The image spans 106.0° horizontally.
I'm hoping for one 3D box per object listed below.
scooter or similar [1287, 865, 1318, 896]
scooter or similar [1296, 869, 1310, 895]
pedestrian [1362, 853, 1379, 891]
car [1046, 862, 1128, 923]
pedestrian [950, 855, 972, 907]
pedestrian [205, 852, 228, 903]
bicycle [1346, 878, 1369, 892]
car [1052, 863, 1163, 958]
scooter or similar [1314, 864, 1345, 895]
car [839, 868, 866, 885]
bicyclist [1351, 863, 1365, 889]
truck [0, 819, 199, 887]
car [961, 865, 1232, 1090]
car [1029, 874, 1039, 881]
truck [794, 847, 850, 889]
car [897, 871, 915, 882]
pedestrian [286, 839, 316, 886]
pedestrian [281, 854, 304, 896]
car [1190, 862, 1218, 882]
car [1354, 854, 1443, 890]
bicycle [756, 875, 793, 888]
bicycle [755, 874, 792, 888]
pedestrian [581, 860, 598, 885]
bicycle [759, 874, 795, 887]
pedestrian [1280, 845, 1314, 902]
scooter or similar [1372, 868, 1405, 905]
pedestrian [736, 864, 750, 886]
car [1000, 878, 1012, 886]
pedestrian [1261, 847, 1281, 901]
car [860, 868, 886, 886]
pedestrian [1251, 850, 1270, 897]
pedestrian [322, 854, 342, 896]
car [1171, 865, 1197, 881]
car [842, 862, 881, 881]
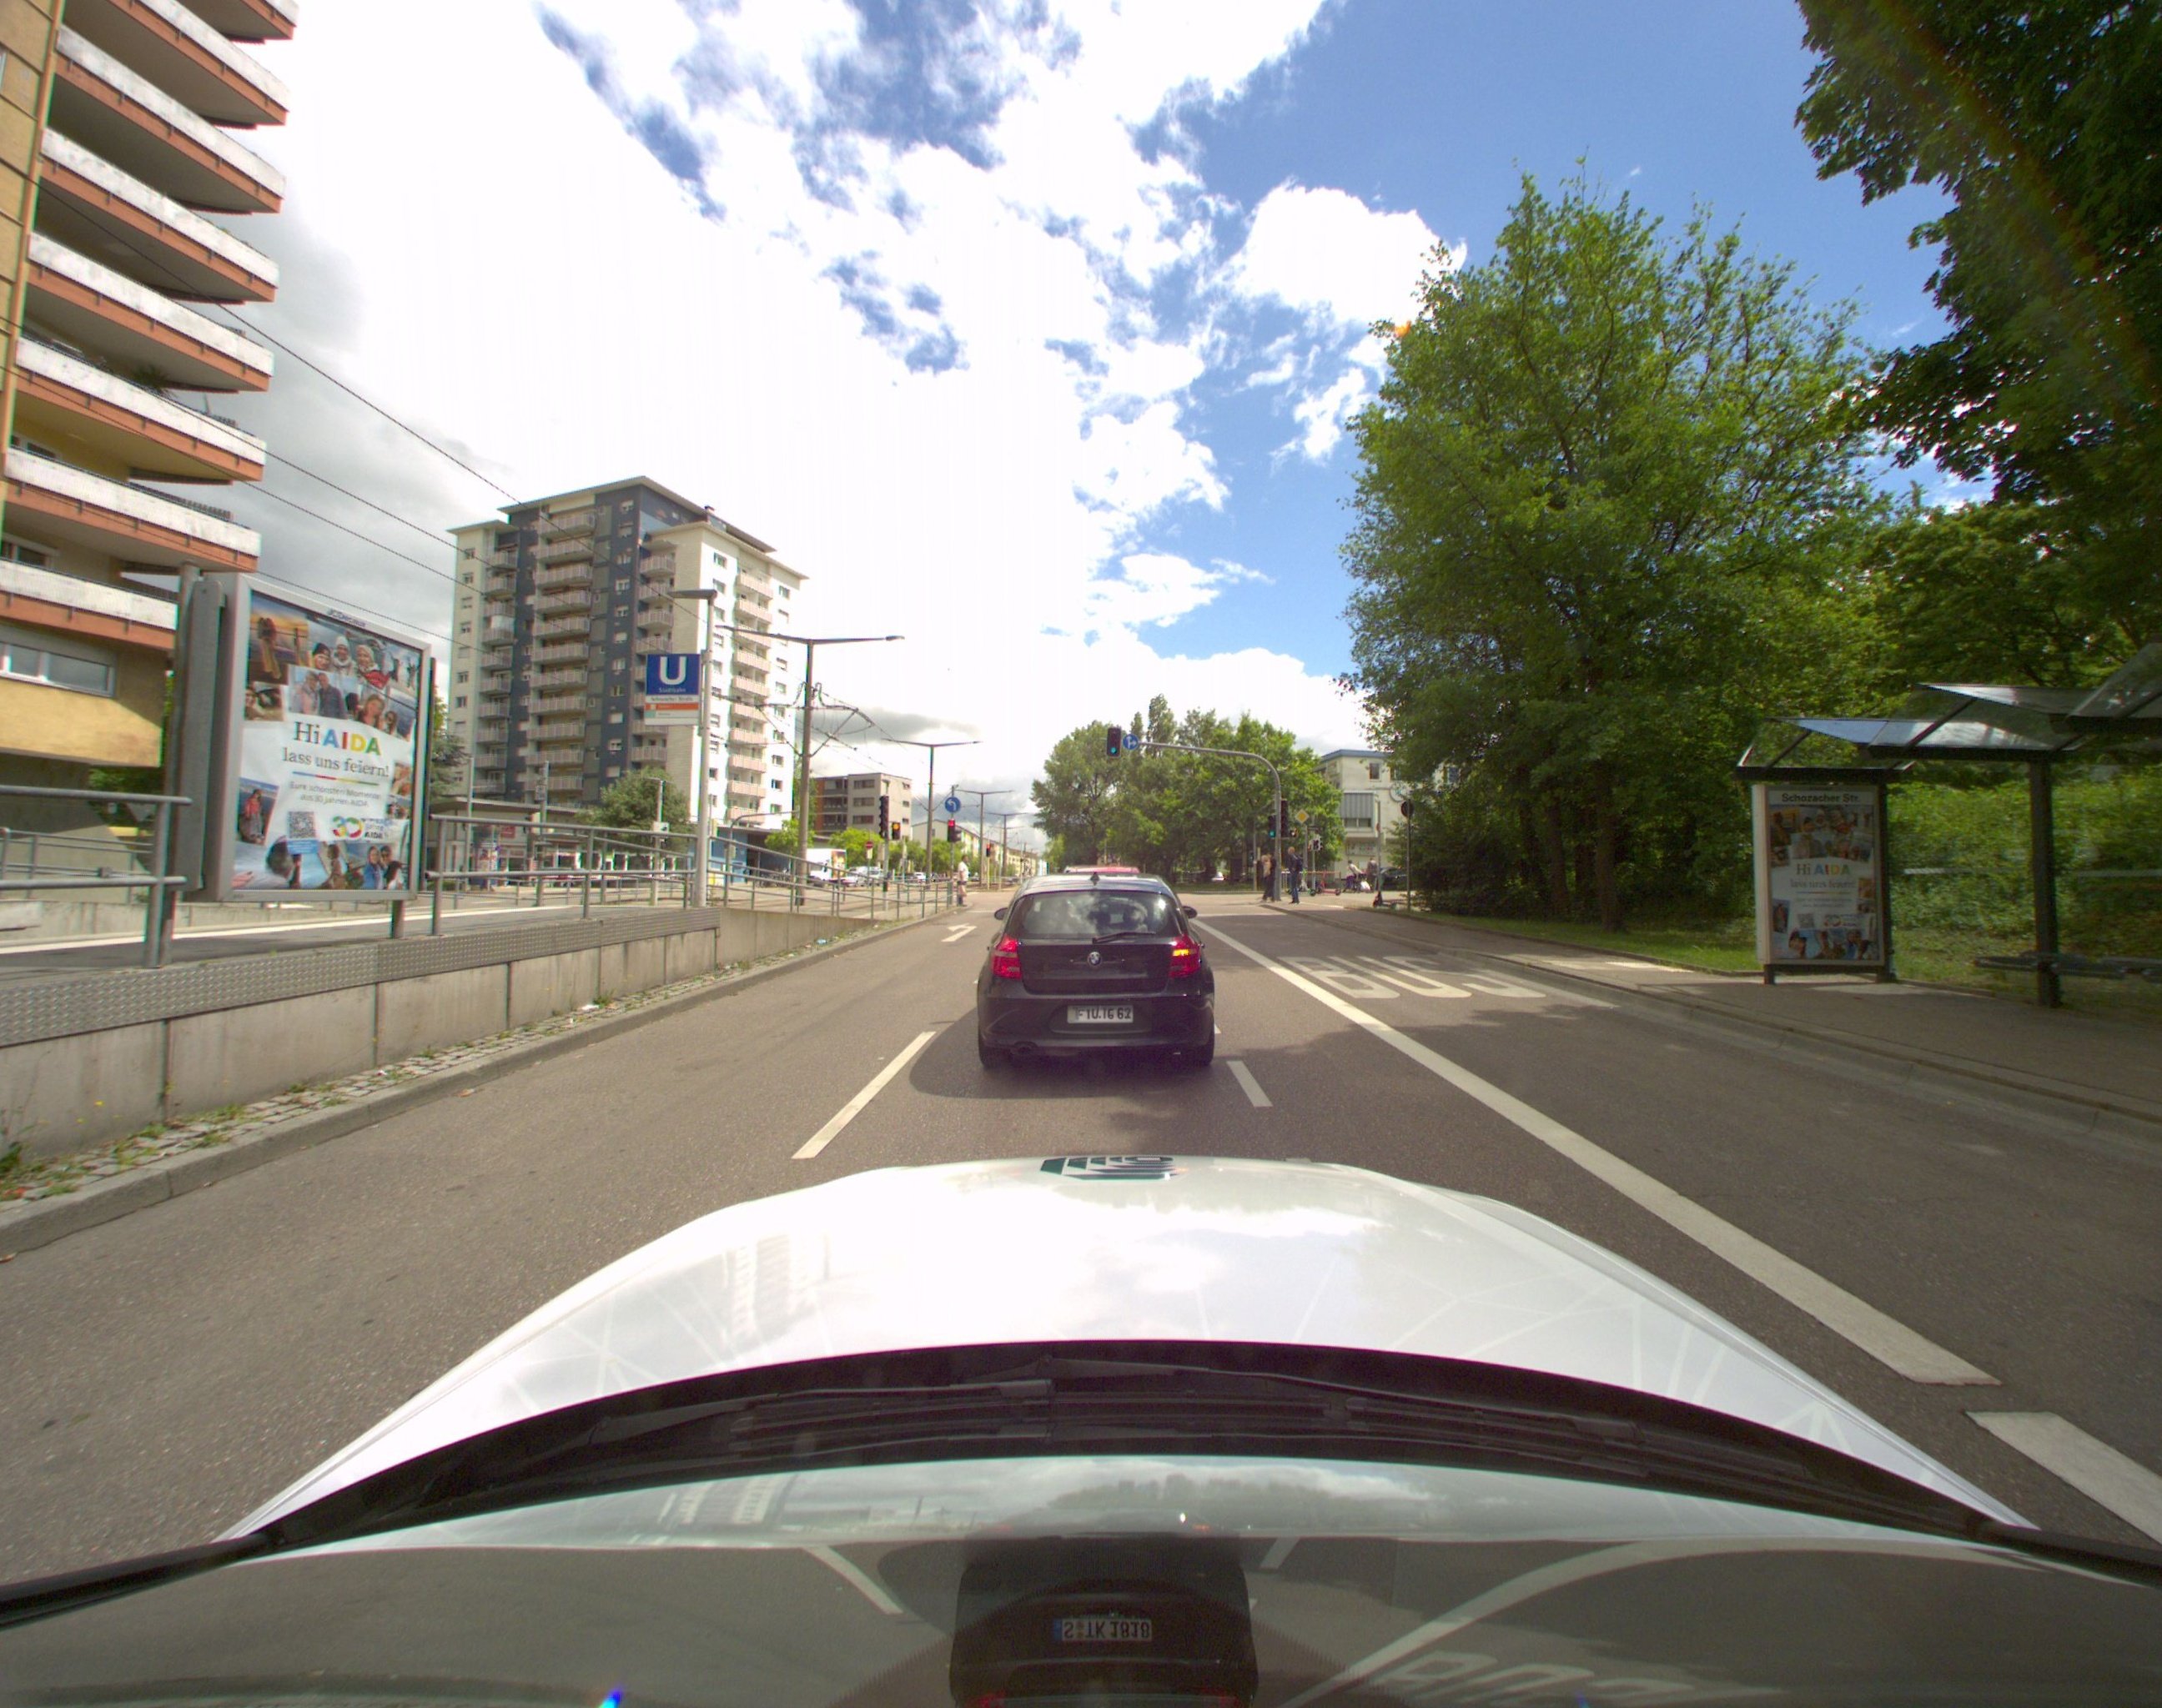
[{"bbox_3d":[8.954,1.064,32.951,1.105,1.235,0.540,0,-1,4],"label":"scooter or similar"},{"bbox_3d":[9.481,1.179,34.793,0.543,1.064,1.267,0,-1,16],"label":"scooter or similar"},{"bbox_3d":[13.349,0.836,37.497,0.651,1.713,0.464,-1,-1,28],"label":"pedestrian"},{"bbox_3d":[0.215,0.920,21.215,1.893,1.422,4.540,0,-1,2],"label":"car"},{"bbox_3d":[-4.101,0.907,27.873,0.687,1.734,0.686,-1,-1,-8],"label":"pedestrian"},{"bbox_3d":[-34.552,0.939,32.558,0.543,2.014,0.555,0,-1,-39],"label":"pedestrian"},{"bbox_3d":[12.558,1.410,36.980,0.531,0.610,1.590,1,-1,0],"label":"bicycle"},{"bbox_3d":[0.442,0.856,13.735,1.632,1.400,3.421,0,-1,2],"label":"car"},{"bbox_3d":[10.300,1.059,33.778,1.145,1.272,0.556,1,-1,4],"label":"scooter or similar"},{"bbox_3d":[-20.569,1.978,73.348,1.402,1.461,3.773,0,-1,0],"label":"car"},{"bbox_3d":[12.548,1.004,36.888,0.499,1.157,0.400,0,-1,2],"label":"bicyclist"},{"bbox_3d":[-34.575,-0.020,28.755,4.262,2.290,2.352,0,-1,2],"label":"truck"},{"bbox_3d":[0.150,0.799,6.834,1.694,1.400,3.421,0,-1,2],"label":"car"},{"bbox_3d":[-10.807,5.477,187.485,1.642,1.534,3.879,0,-1,7],"label":"car"},{"bbox_3d":[-20.470,1.109,64.715,2.275,3.118,7.312,0,-1,-2],"label":"truck"},{"bbox_3d":[-24.135,3.054,112.660,1.586,1.474,3.775,0,-1,1],"label":"car"},{"bbox_3d":[-29.927,0.321,31.246,0.650,1.776,0.667,-1,-1,30],"label":"pedestrian"},{"bbox_3d":[-37.808,1.015,39.059,0.539,2.014,0.559,0,-1,-14],"label":"pedestrian"},{"bbox_3d":[11.976,1.754,79.508,1.724,1.871,3.990,0,-1,-7],"label":"car"},{"bbox_3d":[18.759,1.047,48.193,4.529,2.014,1.996,0,-1,-6],"label":"car"},{"bbox_3d":[-23.754,2.127,63.158,2.570,1.009,0.749,2,-3,-27],"label":"bicycle"},{"bbox_3d":[-24.148,2.135,63.971,2.570,1.009,0.749,2,-3,-27],"label":"bicycle"},{"bbox_3d":[-39.501,1.475,65.425,0.851,2.014,0.852,-1,-1,29],"label":"pedestrian"},{"bbox_3d":[-24.271,2.145,65.075,2.570,1.009,0.749,2,-3,-27],"label":"bicycle"},{"bbox_3d":[7.246,0.654,27.362,1.003,1.876,0.800,-1,-1,11],"label":"pedestrian"},{"bbox_3d":[10.704,1.127,28.349,0.886,1.230,0.455,4,-1,2],"label":"scooter or similar"},{"bbox_3d":[-31.984,1.962,76.997,0.852,2.014,0.851,-1,-1,19],"label":"pedestrian"},{"bbox_3d":[-15.514,5.764,169.230,1.642,1.534,3.879,0,-1,7],"label":"car"},{"bbox_3d":[6.666,0.714,28.615,0.632,1.876,0.519,0,-1,8],"label":"pedestrian"},{"bbox_3d":[-20.477,2.266,80.339,1.586,1.756,3.775,0,-1,1],"label":"car"},{"bbox_3d":[6.704,0.729,30.434,0.632,1.766,0.519,0,-1,8],"label":"pedestrian"},{"bbox_3d":[-35.774,0.999,38.892,0.541,2.014,0.557,0,-1,-25],"label":"pedestrian"},{"bbox_3d":[11.436,2.089,90.555,1.862,1.662,3.987,0,-1,-9],"label":"car"},{"bbox_3d":[-24.269,1.933,90.135,3.945,1.975,1.637,0,-1,-41],"label":"car"}]
